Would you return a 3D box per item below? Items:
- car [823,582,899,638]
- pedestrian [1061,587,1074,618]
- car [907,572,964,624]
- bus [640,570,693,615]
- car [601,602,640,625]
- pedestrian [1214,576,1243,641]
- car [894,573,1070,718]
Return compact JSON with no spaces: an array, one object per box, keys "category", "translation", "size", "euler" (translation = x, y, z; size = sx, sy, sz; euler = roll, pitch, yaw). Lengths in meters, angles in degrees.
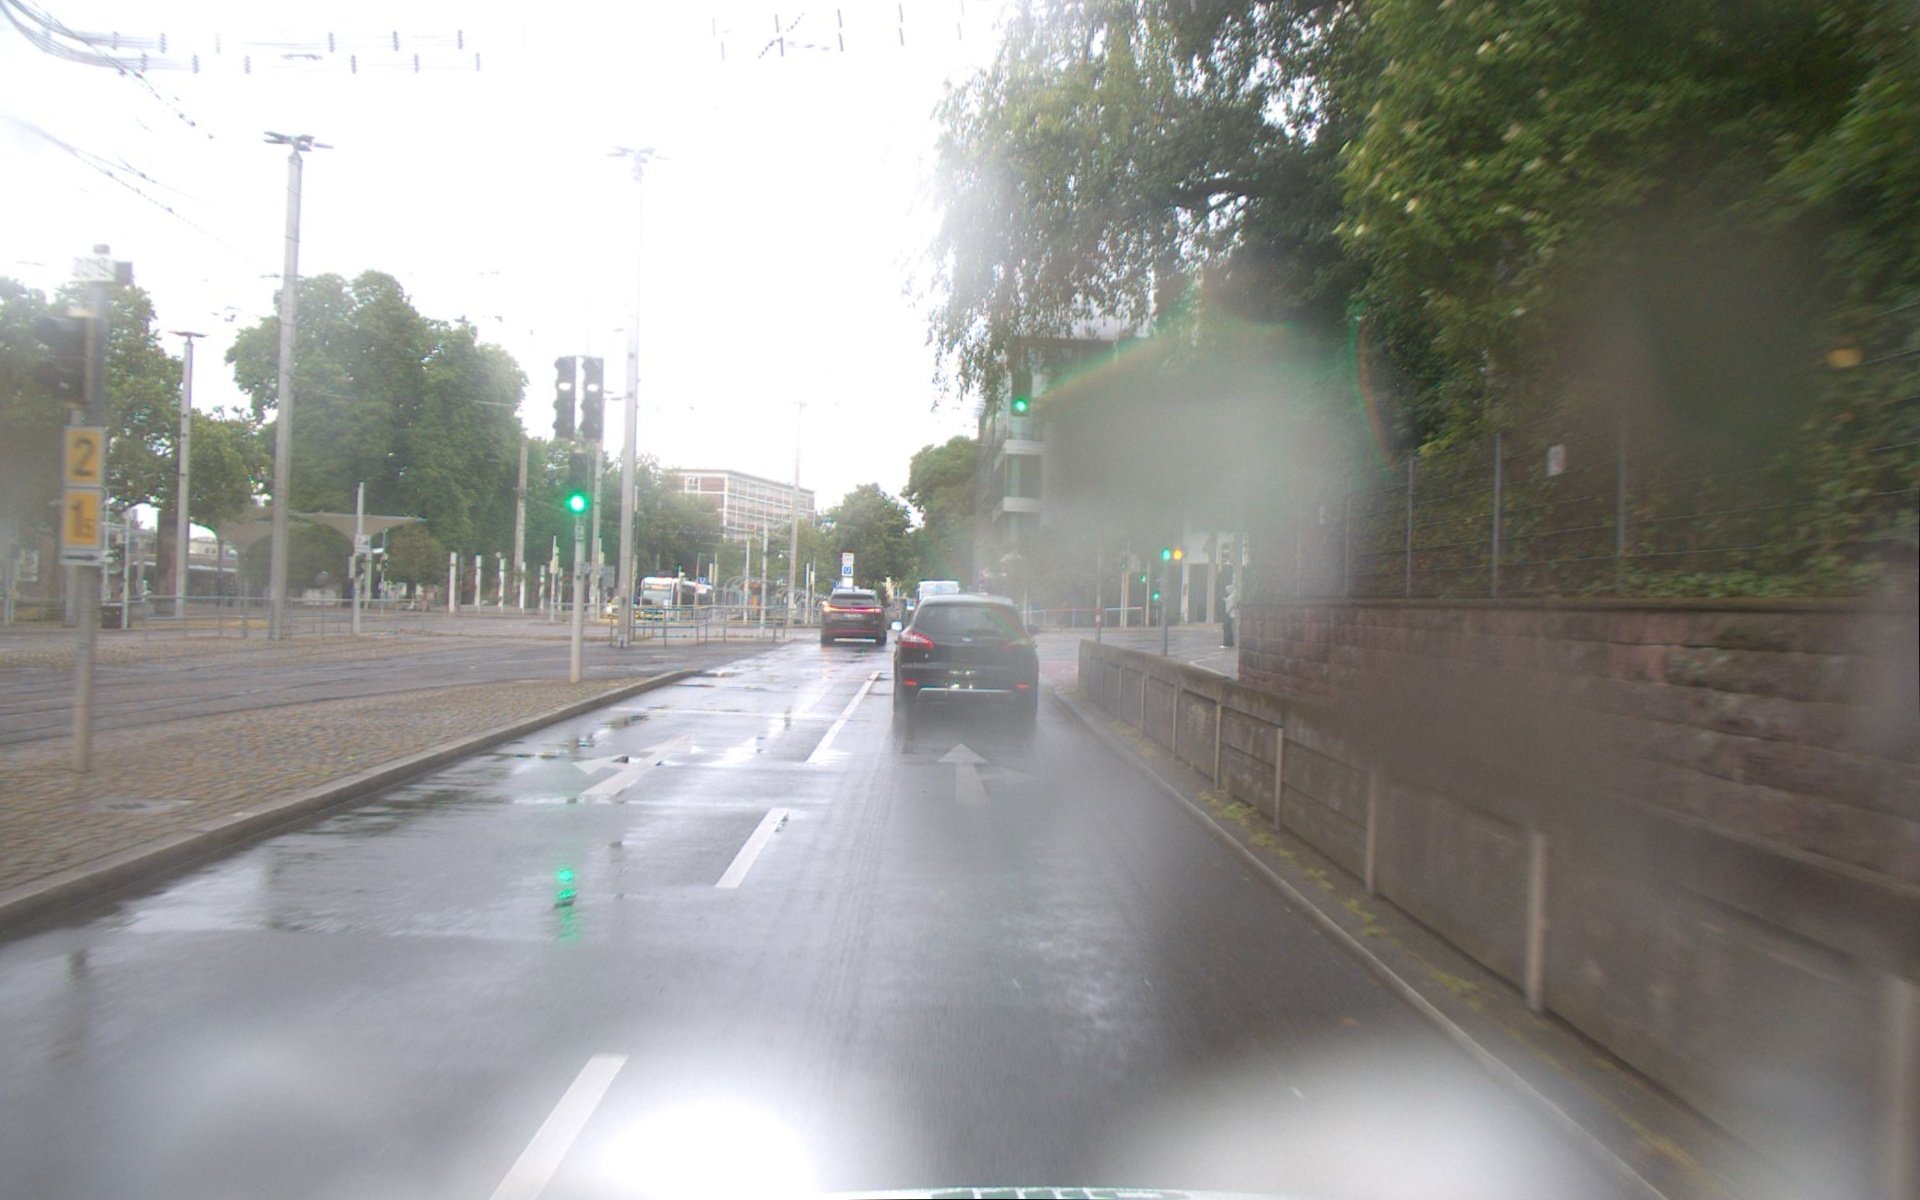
[{"category":"car","translation":[-2.828,0.287,47.406],"size":[2.057,1.532,4.728],"euler":[0,0,-3]},{"category":"pedestrian","translation":[5.612,0.131,86.216],"size":[0.530,1.590,0.521],"euler":[0,-1,19]},{"category":"car","translation":[-0.884,-0.084,63.353],"size":[1.994,1.872,4.392],"euler":[2,0,1]},{"category":"bus","translation":[-22.685,-0.531,128.419],"size":[3.017,3.358,12.507],"euler":[0,0,-6]},{"category":"car","translation":[-25.405,1.006,123.926],"size":[1.953,1.674,4.536],"euler":[0,0,0]},{"category":"pedestrian","translation":[7.345,0.234,45.242],"size":[0.518,1.742,0.703],"euler":[0,0,37]},{"category":"car","translation":[0.223,0.522,21.379],"size":[1.994,1.612,4.391],"euler":[2,0,-1]}]
